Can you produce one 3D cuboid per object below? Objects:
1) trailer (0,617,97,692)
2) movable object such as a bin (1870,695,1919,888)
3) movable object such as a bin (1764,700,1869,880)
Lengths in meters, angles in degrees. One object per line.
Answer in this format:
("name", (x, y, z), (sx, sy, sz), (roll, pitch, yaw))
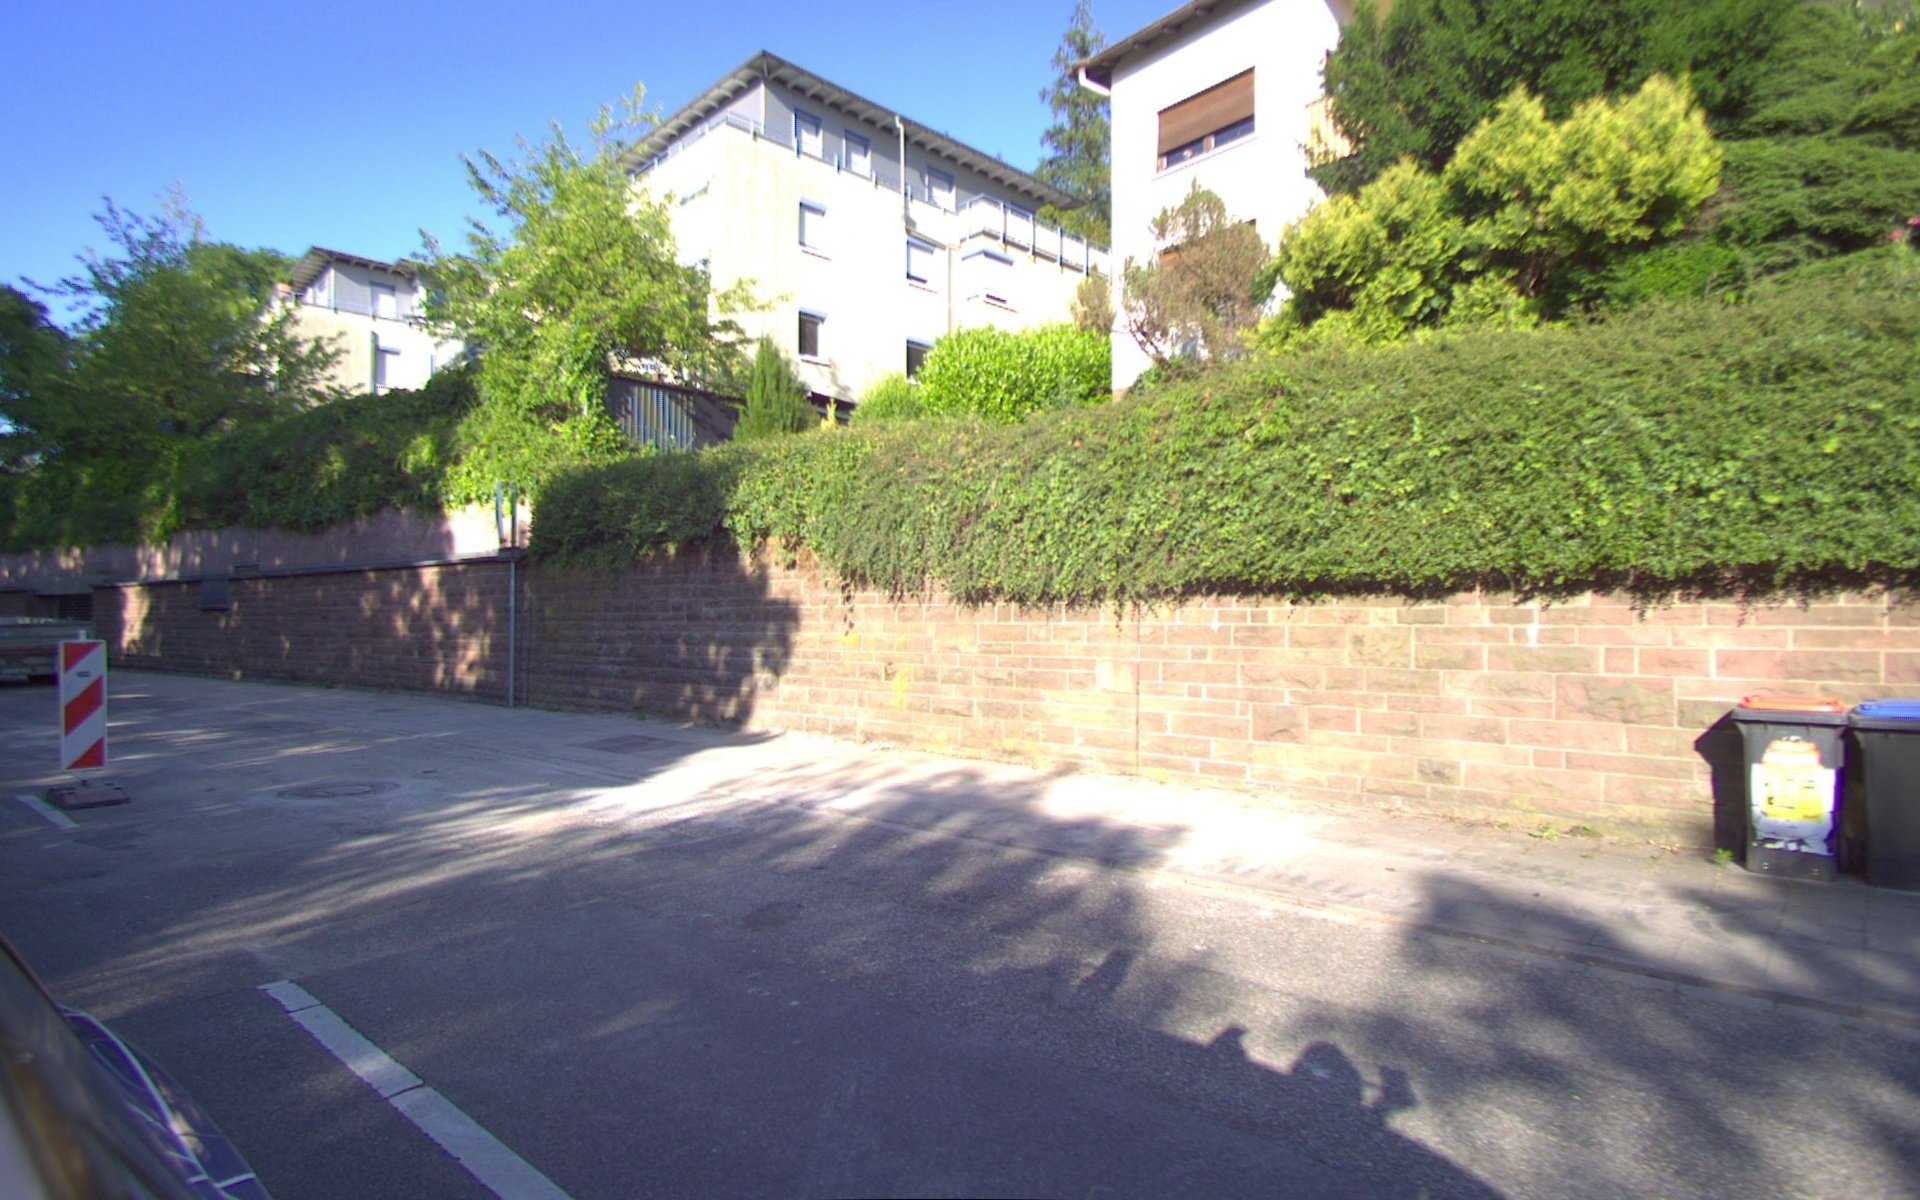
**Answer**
("trailer", (-22.255, 1.161, 22.658), (7.098, 1.500, 2.619), (-1, 0, 33))
("movable object such as a bin", (4.835, 0.941, 4.986), (0.500, 0.890, 0.451), (-2, -1, 43))
("movable object such as a bin", (4.496, 0.970, 5.312), (0.392, 0.840, 0.449), (-2, -2, 43))
